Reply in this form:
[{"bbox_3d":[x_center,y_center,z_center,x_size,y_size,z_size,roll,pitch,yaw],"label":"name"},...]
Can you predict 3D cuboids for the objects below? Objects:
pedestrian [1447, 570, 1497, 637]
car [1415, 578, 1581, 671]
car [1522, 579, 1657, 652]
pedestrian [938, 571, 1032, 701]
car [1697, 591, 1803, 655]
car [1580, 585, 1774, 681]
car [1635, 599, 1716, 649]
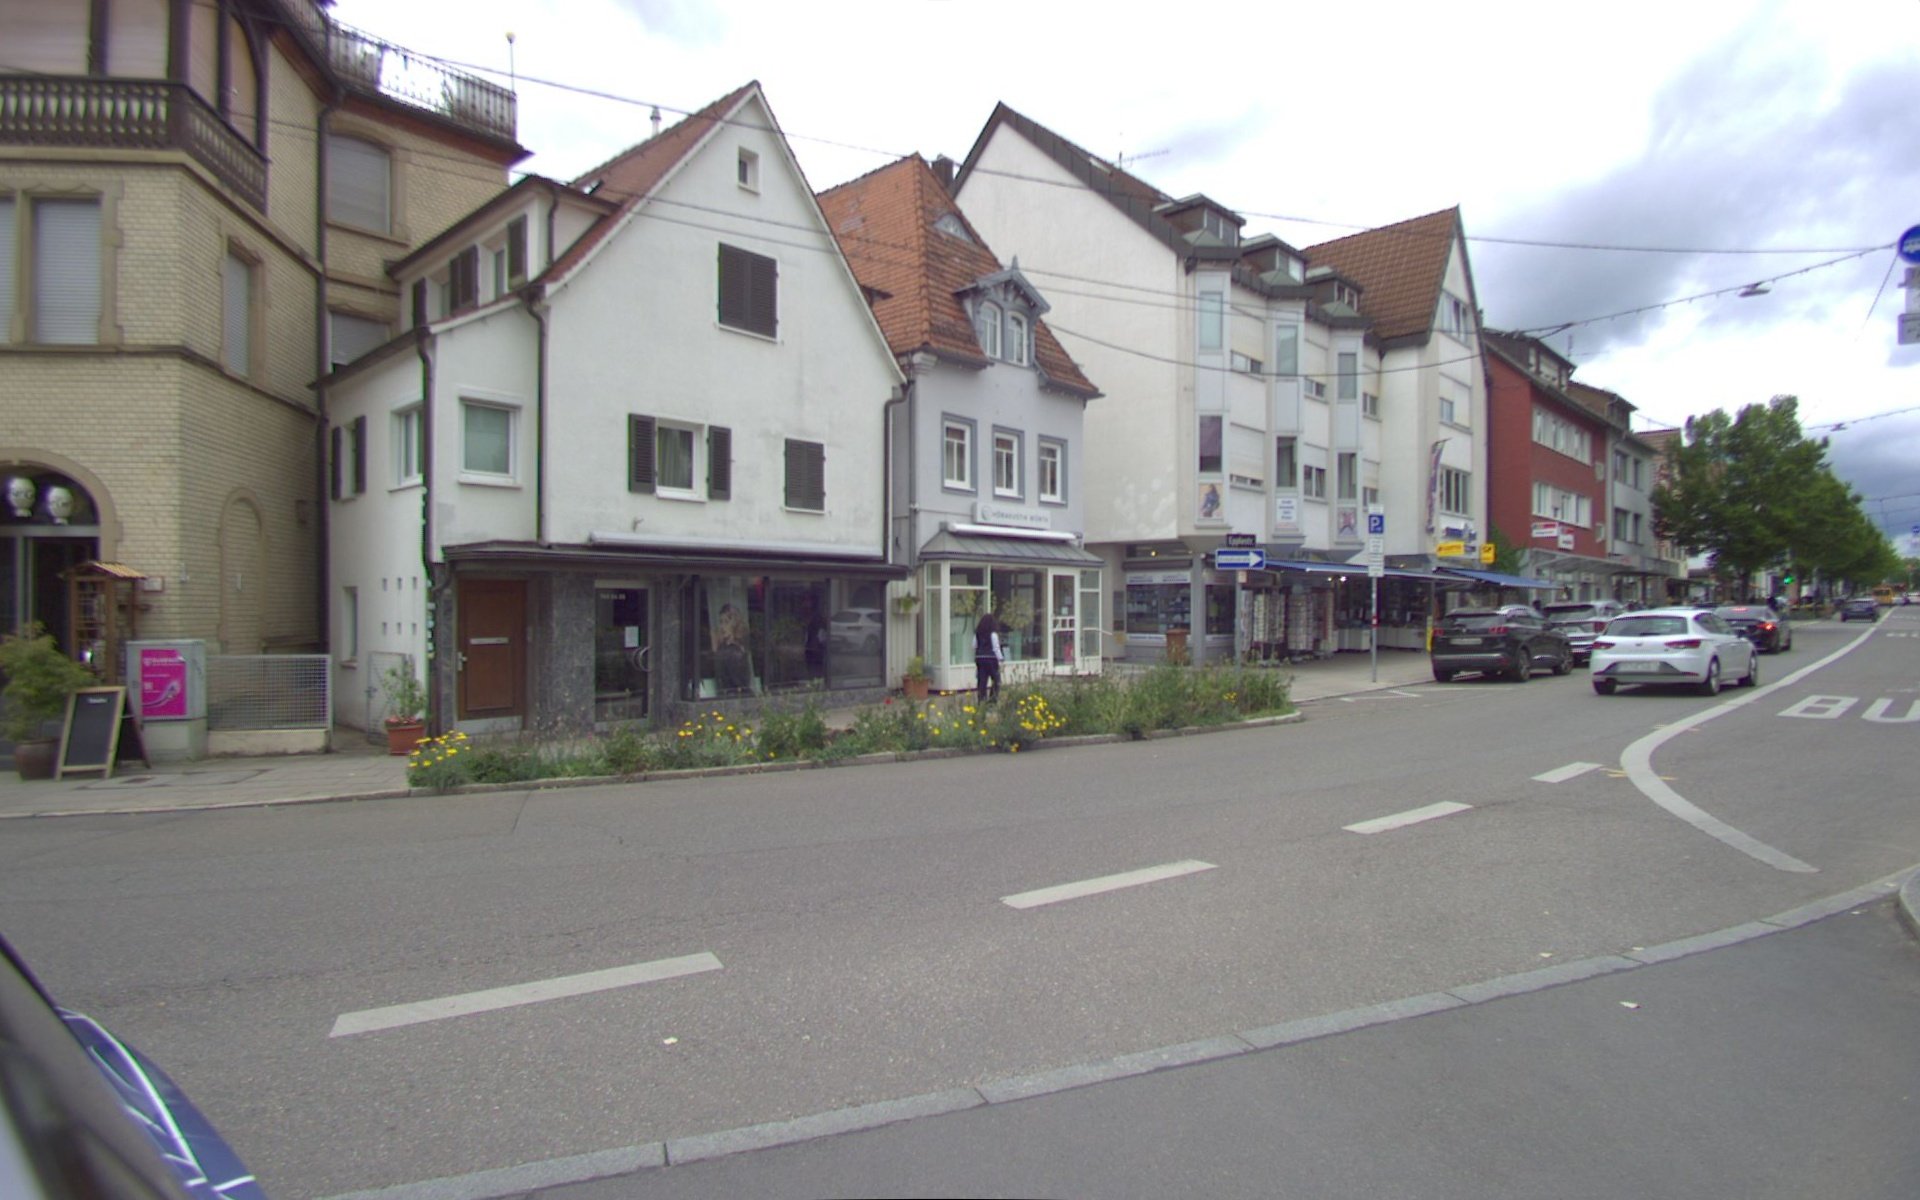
[{"bbox_3d":[15.965,0.106,31.571,1.106,2.029,0.999,-3,-1,44],"label":"pedestrian"},{"bbox_3d":[11.984,0.521,22.455,3.939,1.868,2.002,0,-2,-43],"label":"car"},{"bbox_3d":[16.573,0.411,26.575,4.361,1.745,2.001,0,-2,-44],"label":"car"},{"bbox_3d":[0.400,0.578,16.560,0.999,2.029,1.107,-1,-1,-45],"label":"pedestrian"},{"bbox_3d":[23.273,0.642,29.751,2.042,1.688,4.311,-2,-1,43],"label":"car"},{"bbox_3d":[12.670,0.529,17.796,3.938,1.445,1.852,-2,-1,-41],"label":"car"},{"bbox_3d":[24.554,0.810,34.672,3.941,1.635,1.577,0,-2,-45],"label":"car"}]
